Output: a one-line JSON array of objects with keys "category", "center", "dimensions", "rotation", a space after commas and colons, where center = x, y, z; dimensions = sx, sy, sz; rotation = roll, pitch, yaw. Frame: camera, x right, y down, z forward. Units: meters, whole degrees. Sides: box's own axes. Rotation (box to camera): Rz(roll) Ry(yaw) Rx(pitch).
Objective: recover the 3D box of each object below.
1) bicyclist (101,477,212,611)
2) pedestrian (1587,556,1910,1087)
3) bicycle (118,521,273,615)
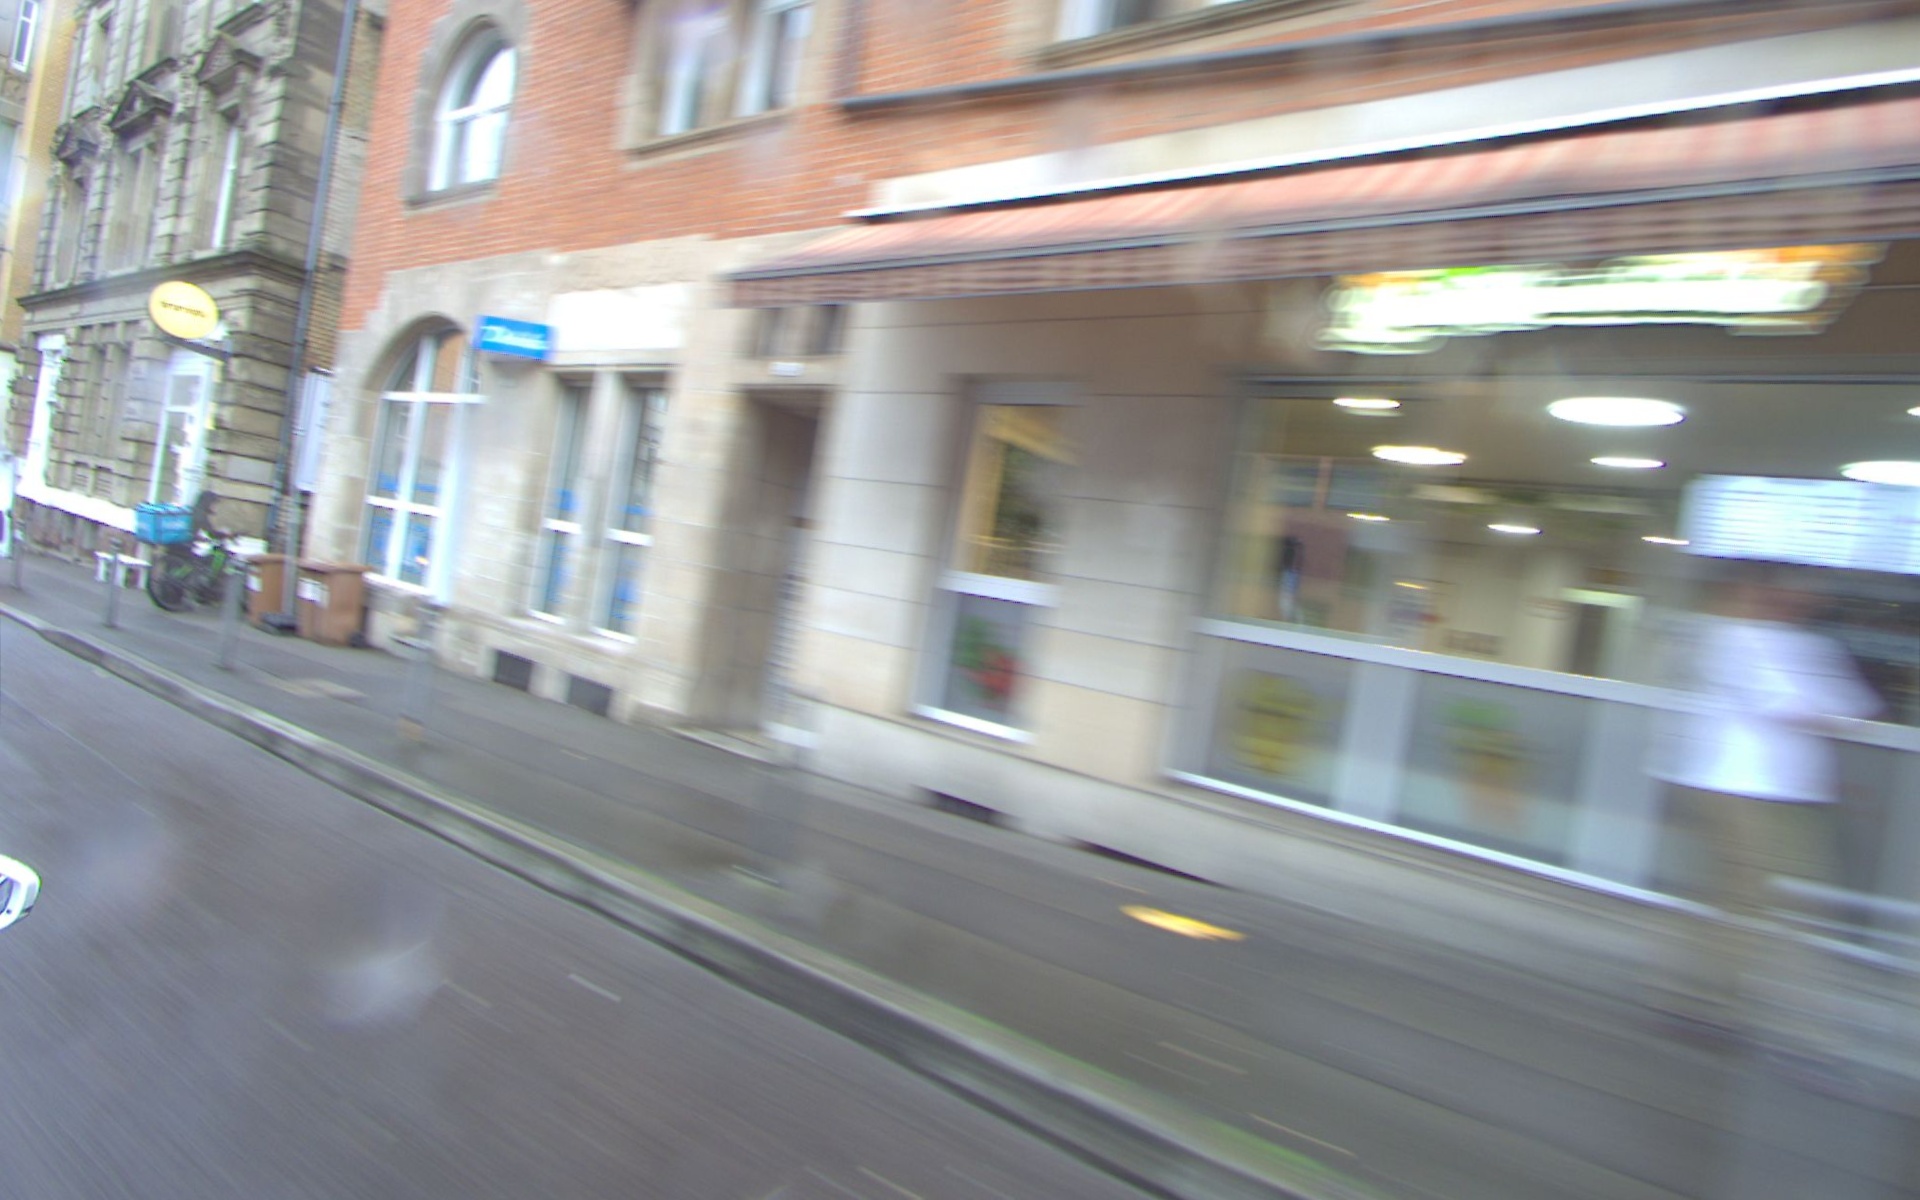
[{"category": "bicyclist", "center": [-10.768, -0.727, 13.502], "dimensions": [0.619, 1.678, 0.850], "rotation": [7, 1, 15]}, {"category": "pedestrian", "center": [2.943, 0.788, 3.816], "dimensions": [0.554, 1.855, 0.578], "rotation": [4, 3, -7]}, {"category": "bicycle", "center": [-10.333, -0.393, 13.671], "dimensions": [0.456, 1.129, 1.689], "rotation": [7, 0, 14]}]
